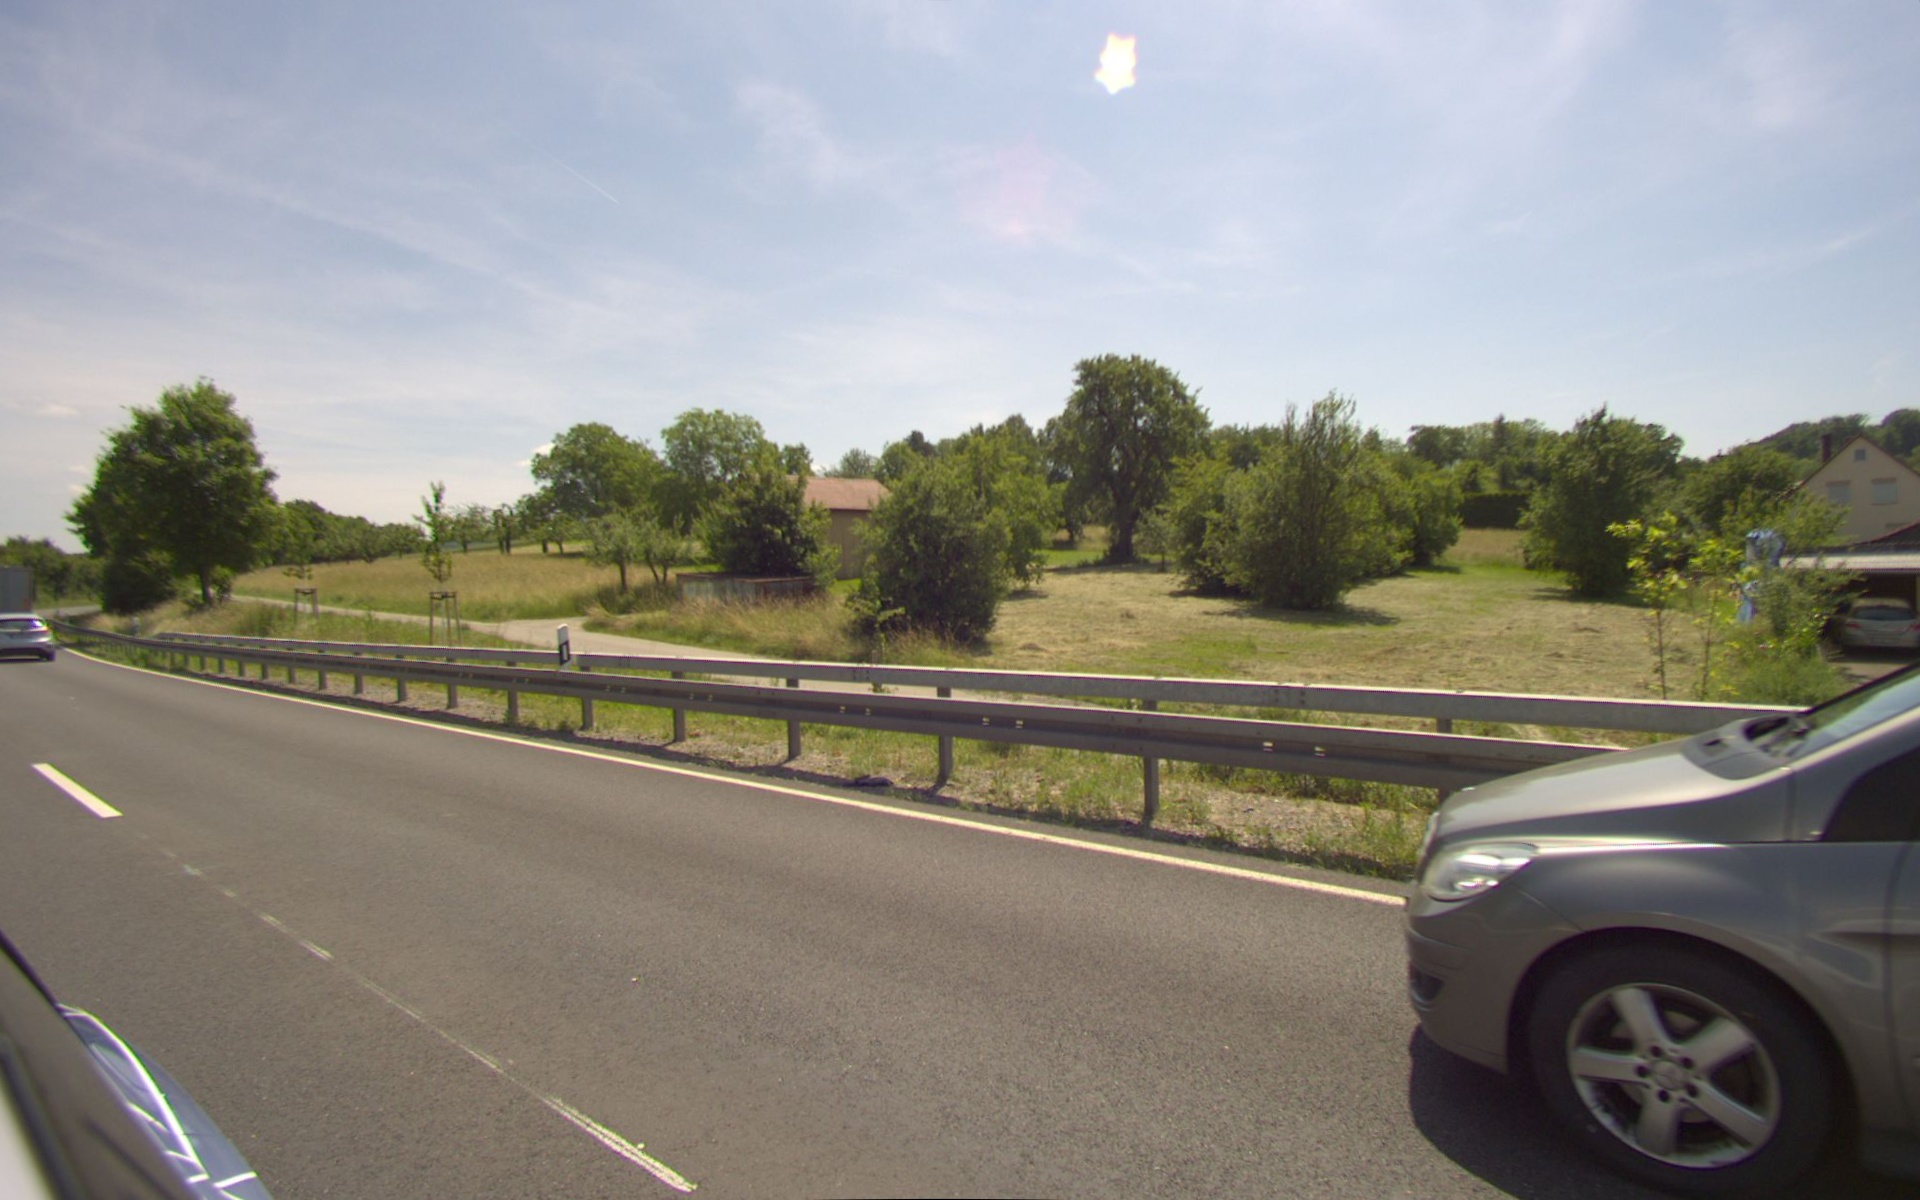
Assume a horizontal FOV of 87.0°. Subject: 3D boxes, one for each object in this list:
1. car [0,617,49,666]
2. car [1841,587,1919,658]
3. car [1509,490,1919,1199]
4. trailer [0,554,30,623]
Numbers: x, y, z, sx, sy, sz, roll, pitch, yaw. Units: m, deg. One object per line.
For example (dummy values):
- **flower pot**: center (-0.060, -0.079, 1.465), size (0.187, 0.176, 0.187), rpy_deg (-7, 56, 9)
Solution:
- **car**: center (-29.817, 1.287, 31.683), size (4.159, 1.452, 1.628), rpy_deg (-2, -2, 44)
- **car**: center (25.321, 0.562, 27.613), size (1.781, 1.525, 3.949), rpy_deg (-1, 4, 39)
- **car**: center (3.676, 0.554, 1.906), size (4.376, 1.601, 1.788), rpy_deg (-1, -1, 40)
- **trailer**: center (-63.564, -0.615, 67.035), size (2.417, 4.216, 14.024), rpy_deg (1, -1, -44)
